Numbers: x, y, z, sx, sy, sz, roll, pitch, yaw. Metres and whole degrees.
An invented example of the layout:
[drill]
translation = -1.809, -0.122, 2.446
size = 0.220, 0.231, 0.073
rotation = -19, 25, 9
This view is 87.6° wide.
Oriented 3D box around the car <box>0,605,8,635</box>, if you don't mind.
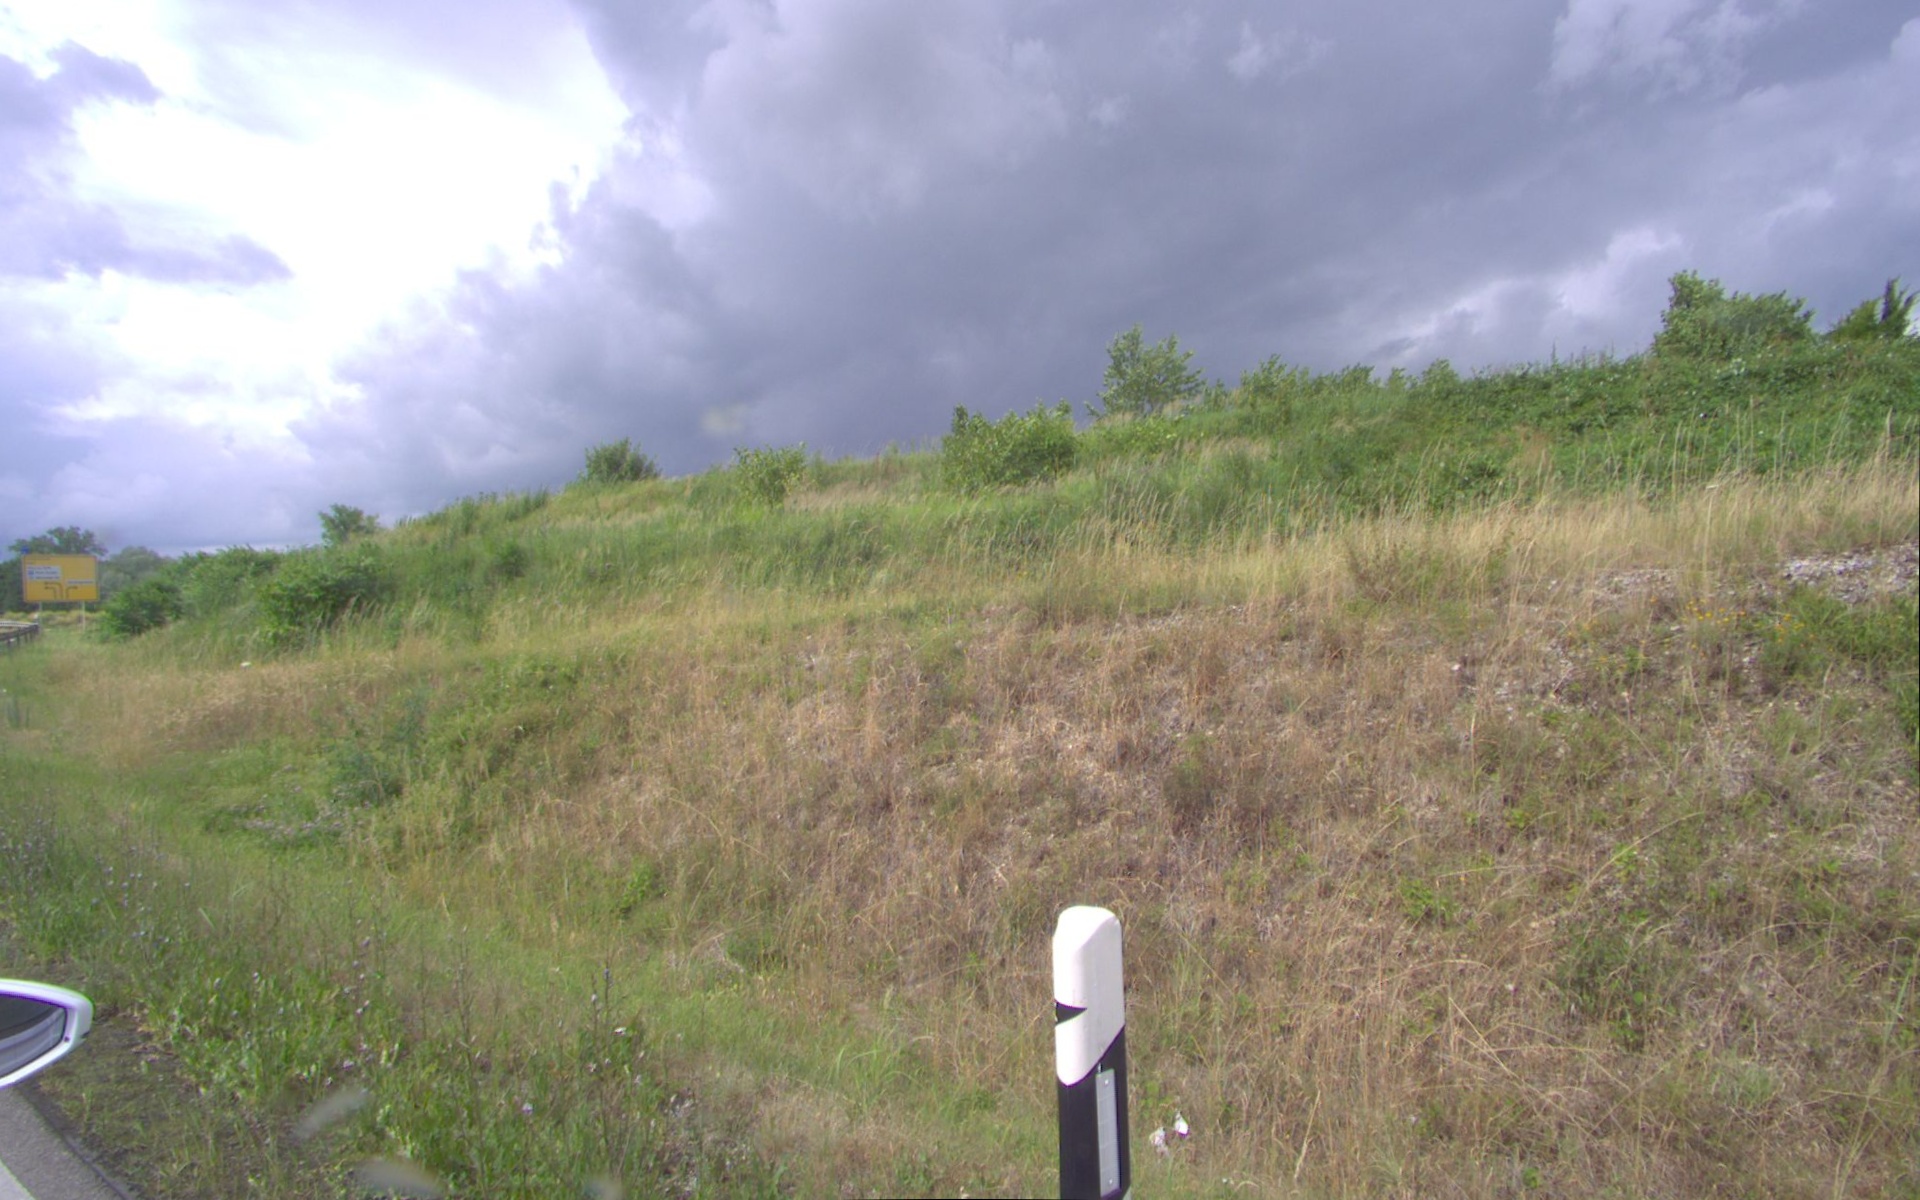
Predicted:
[car]
translation = -64.427, 1.346, 66.083
size = 4.448, 1.906, 2.083
rotation = -2, -2, 44
